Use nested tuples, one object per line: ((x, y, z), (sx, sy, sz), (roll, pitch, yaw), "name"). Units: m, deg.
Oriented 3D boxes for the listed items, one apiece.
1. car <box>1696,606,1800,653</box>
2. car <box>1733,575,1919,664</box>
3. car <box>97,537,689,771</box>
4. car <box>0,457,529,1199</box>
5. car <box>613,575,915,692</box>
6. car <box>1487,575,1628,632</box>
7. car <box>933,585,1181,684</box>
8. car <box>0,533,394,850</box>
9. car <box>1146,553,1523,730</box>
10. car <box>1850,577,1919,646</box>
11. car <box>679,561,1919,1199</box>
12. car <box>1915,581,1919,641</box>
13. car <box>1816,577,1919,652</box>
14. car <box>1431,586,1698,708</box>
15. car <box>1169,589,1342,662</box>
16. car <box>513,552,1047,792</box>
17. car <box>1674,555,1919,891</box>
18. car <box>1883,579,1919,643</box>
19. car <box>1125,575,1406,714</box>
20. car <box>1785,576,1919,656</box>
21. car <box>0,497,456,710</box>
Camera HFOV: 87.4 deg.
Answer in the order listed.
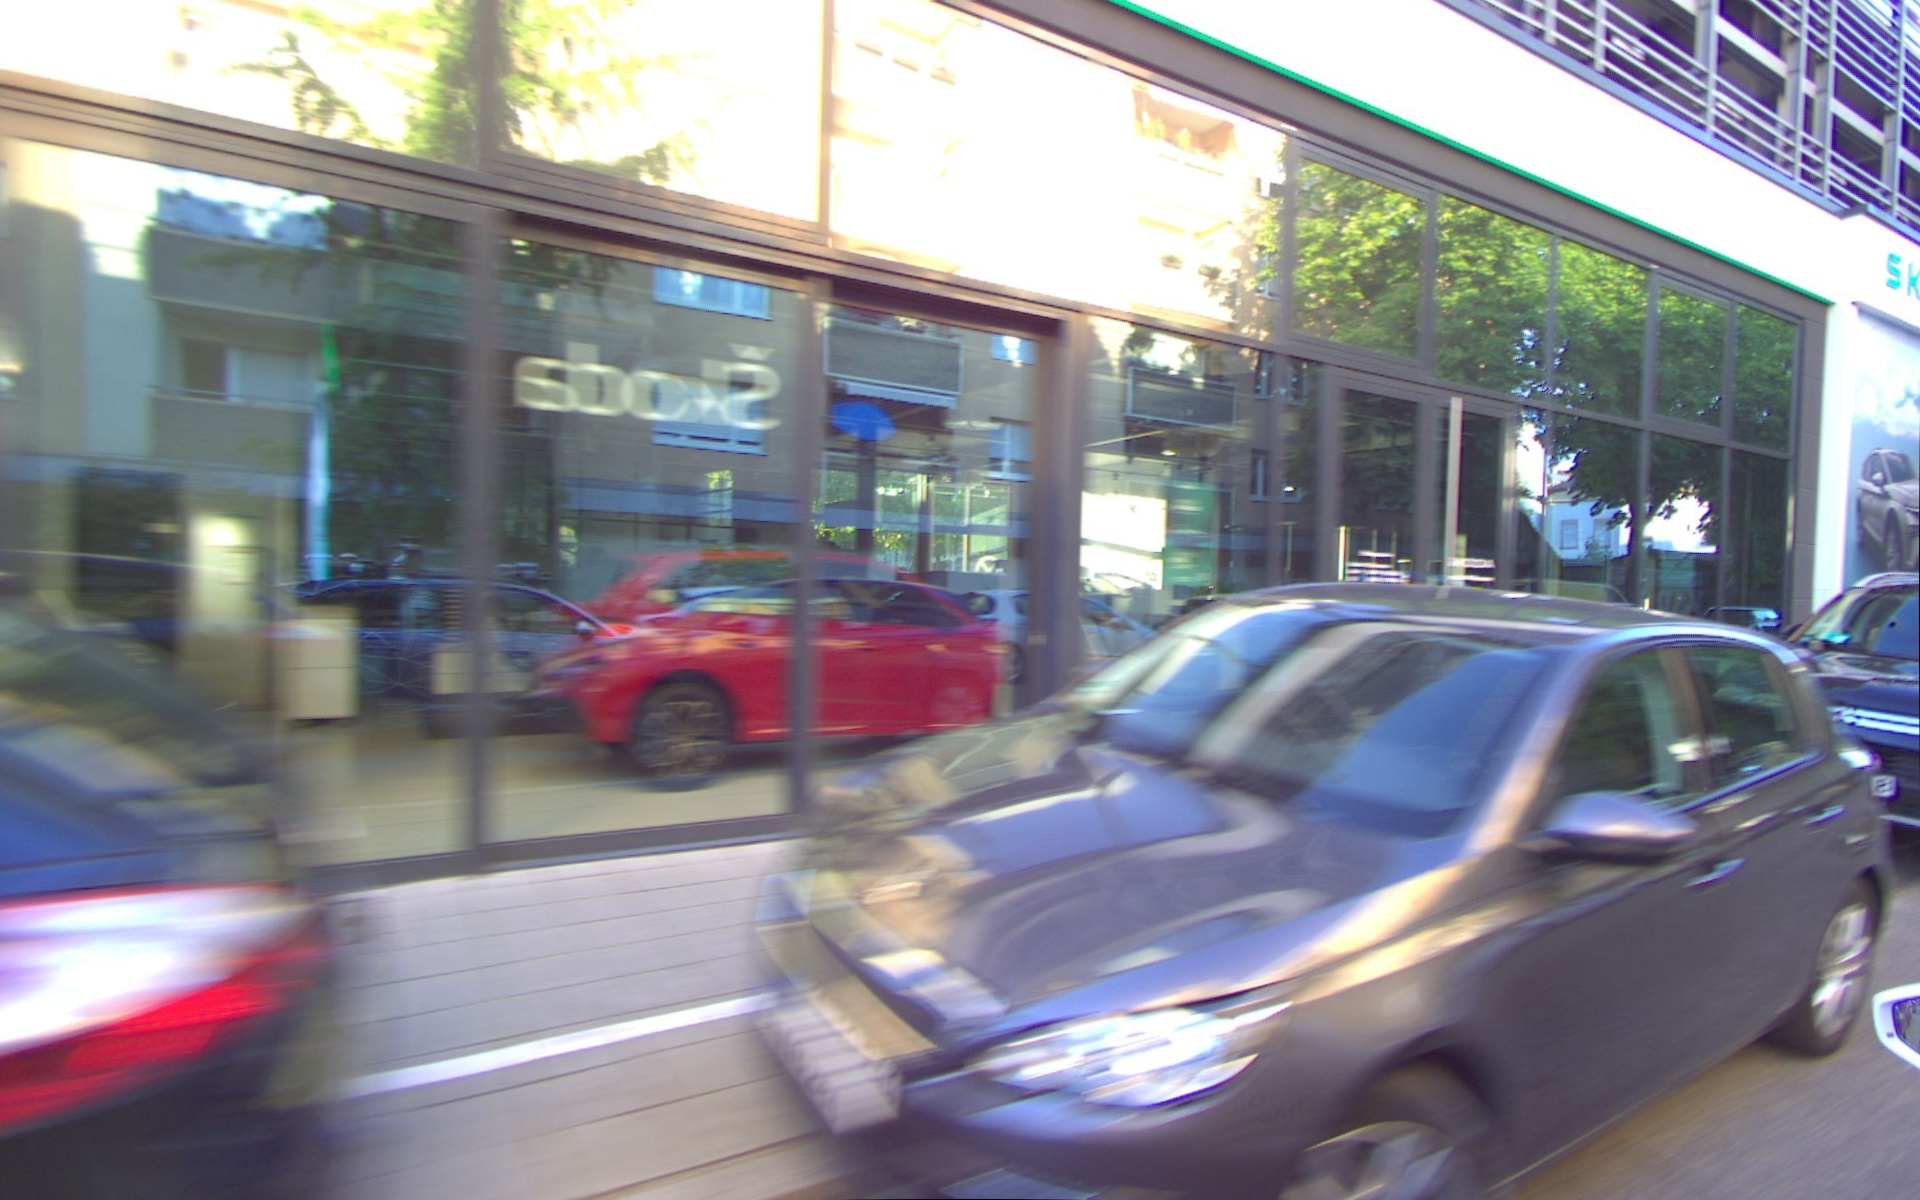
((23.288, 0.840, 29.662), (3.177, 1.272, 1.350), (0, 2, -31), "car")
((18.851, 0.351, 20.882), (1.838, 1.706, 4.016), (0, 2, -29), "car")
((-4.808, 0.372, 9.074), (4.276, 1.681, 1.688), (0, 1, -32), "car")
((-2.629, 0.507, 0.832), (3.962, 1.422, 1.718), (0, 7, -33), "car")
((-2.737, 0.399, 14.253), (3.875, 1.453, 1.688), (0, 1, -32), "car")
((14.365, 0.052, 24.123), (3.485, 1.272, 1.412), (0, 2, -31), "car")
((1.645, 0.501, 16.636), (3.875, 1.453, 1.688), (0, 1, -32), "car")
((-5.425, 0.425, 5.370), (4.144, 1.535, 1.688), (0, 1, -32), "car")
((4.323, 0.377, 11.392), (4.359, 1.681, 1.688), (0, 1, -32), "car")
((24.884, 0.297, 24.756), (1.838, 1.706, 4.007), (0, 2, -29), "car")
((1.403, 0.717, 3.269), (4.154, 1.618, 1.928), (0, 2, -30), "car")
((28.922, 0.360, 27.178), (1.838, 1.706, 4.083), (0, 2, -29), "car")
((23.062, 0.345, 23.568), (1.838, 1.706, 4.130), (0, 2, -29), "car")
((8.542, 0.568, 14.132), (3.739, 1.493, 1.688), (0, 1, -32), "car")
((5.688, 0.442, 19.284), (3.177, 1.272, 1.412), (0, 2, -31), "car")
((-1.385, 0.443, 8.162), (3.948, 1.535, 1.688), (0, 1, -31), "car")
((6.781, 0.647, 6.724), (4.353, 1.780, 1.688), (0, 1, -32), "car")
((26.994, 0.323, 26.106), (1.838, 1.706, 4.064), (0, 2, -29), "car")
((4.255, 0.544, 13.877), (3.696, 1.681, 1.688), (1, 1, -32), "car")
((21.097, 0.334, 22.209), (1.838, 1.706, 4.016), (0, 2, -29), "car")
((-7.364, 0.015, 10.240), (3.875, 1.841, 1.688), (0, 1, -32), "car")
